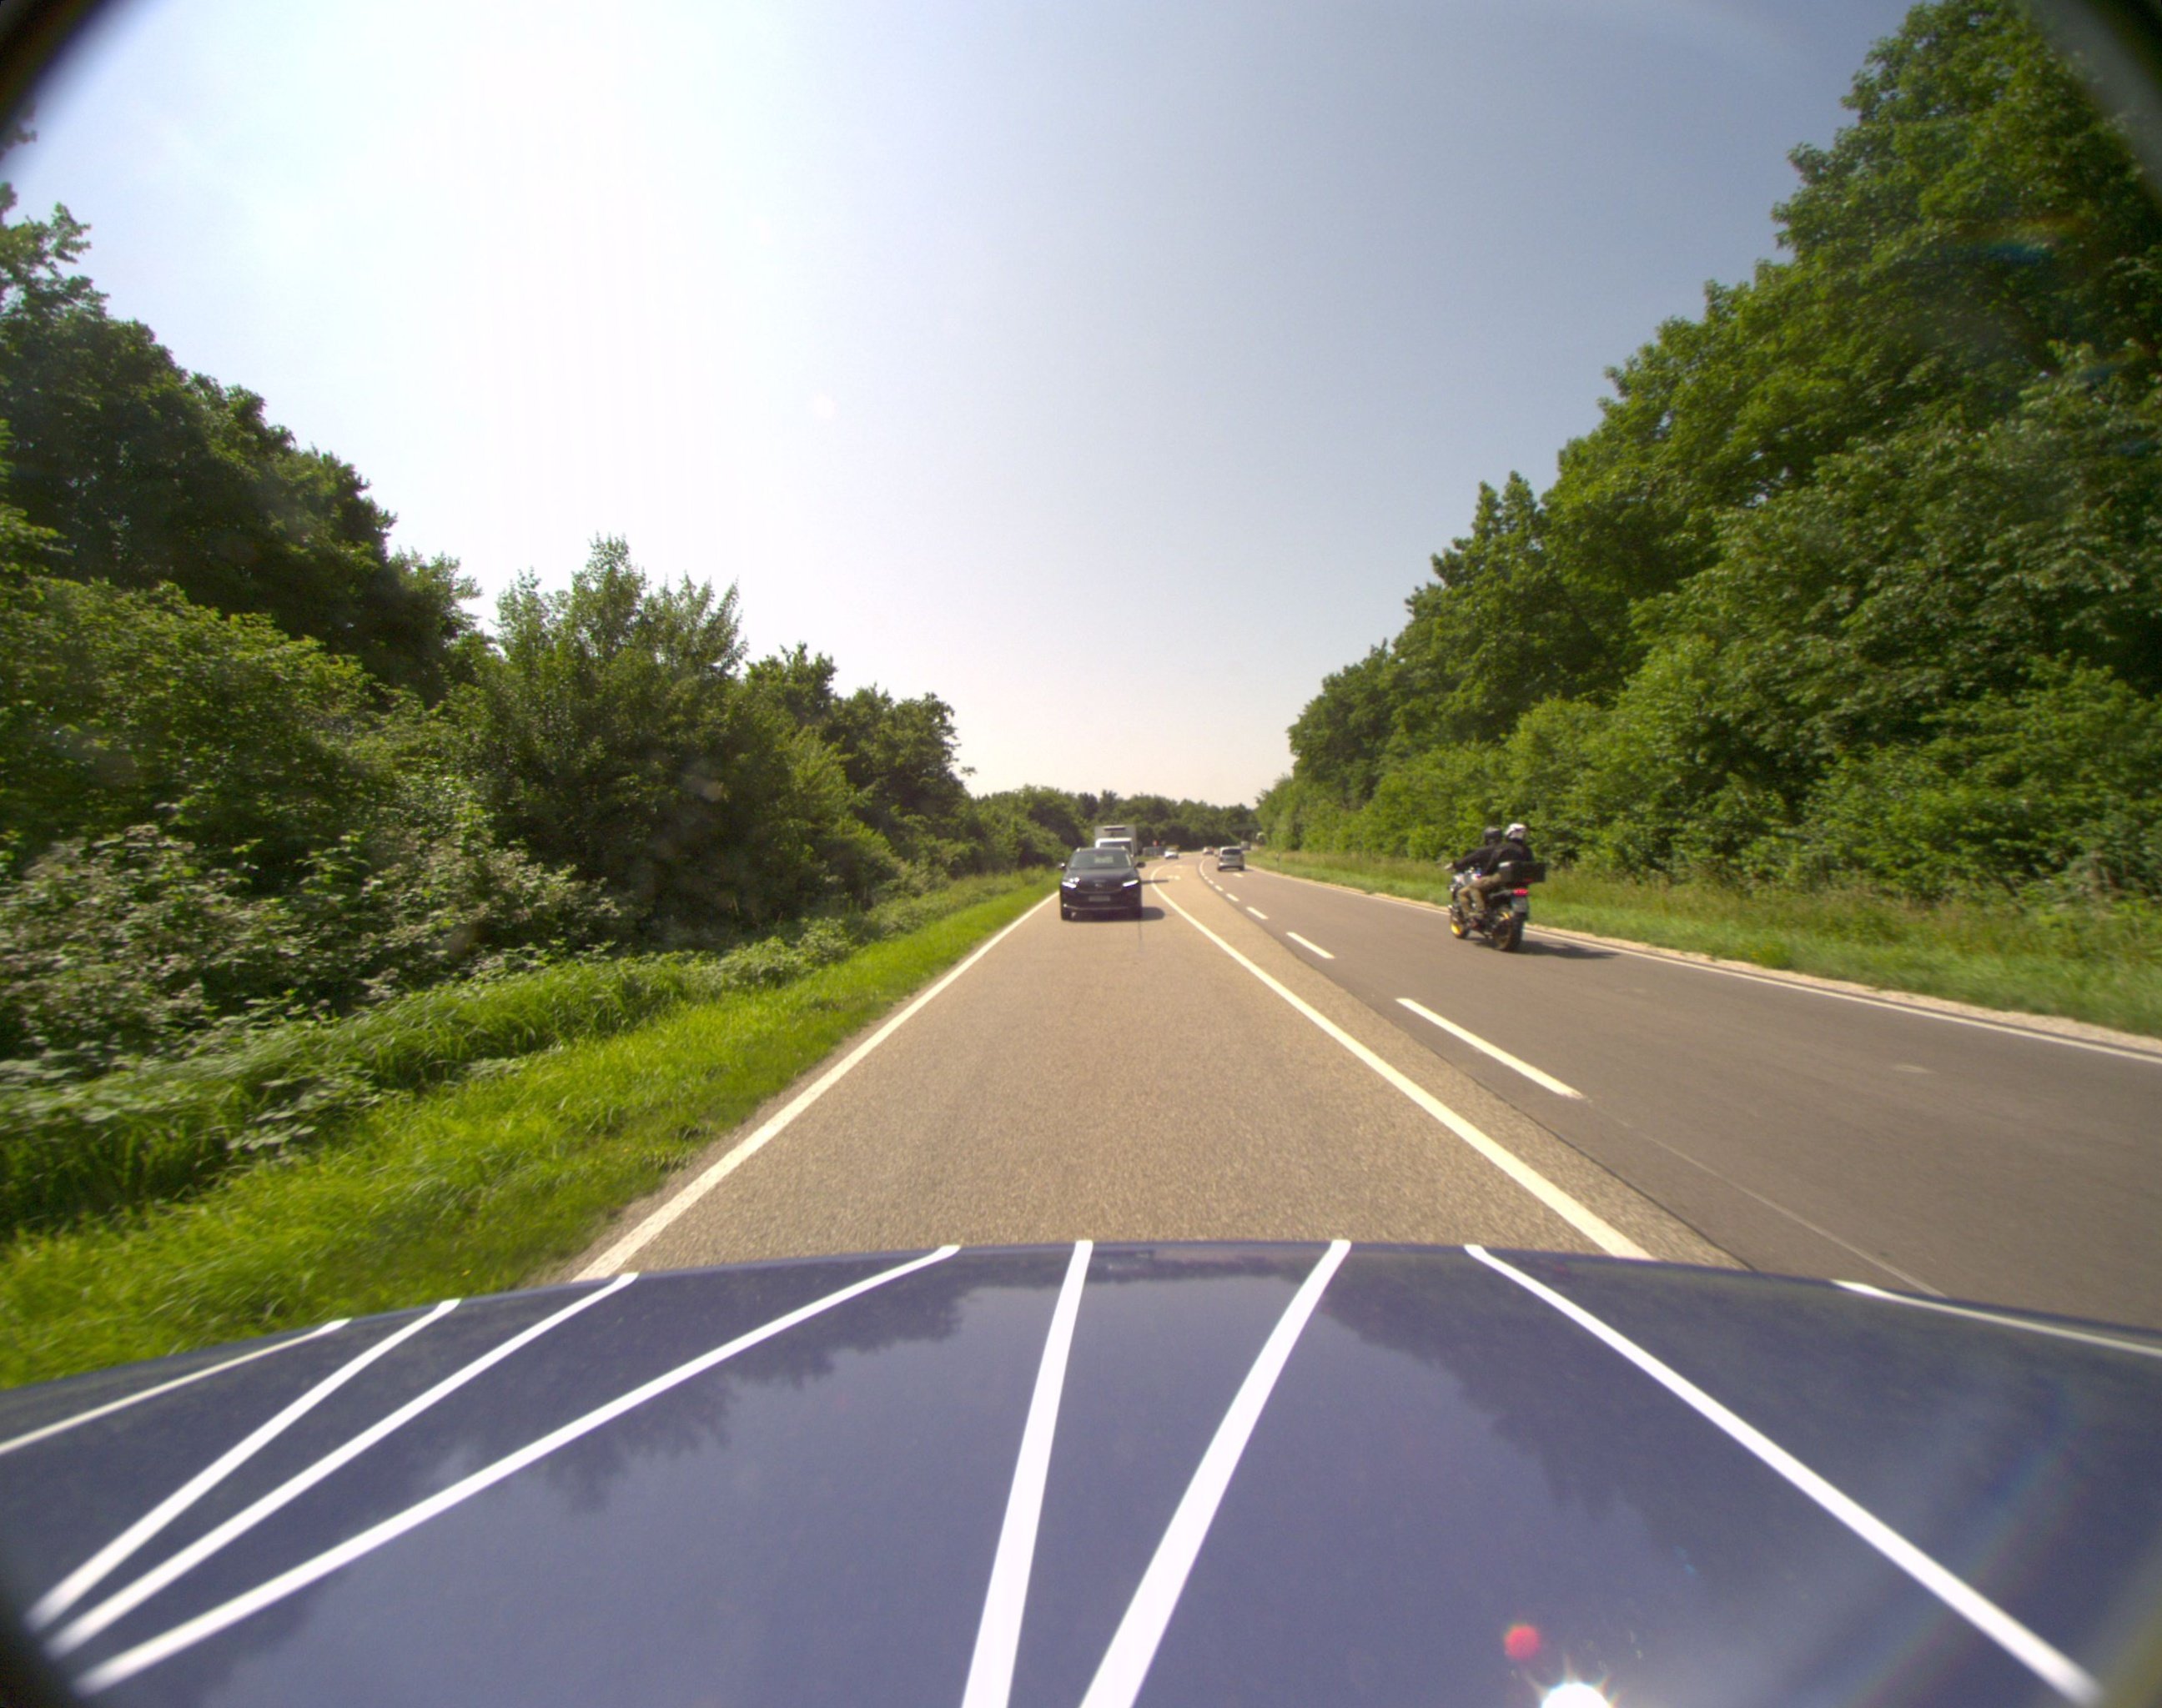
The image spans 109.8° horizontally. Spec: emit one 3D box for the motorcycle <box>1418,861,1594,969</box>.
[{"bbox_3d":[5.818,0.764,10.678,0.949,1.243,2.682,-2,0,0],"label":"motorcycle"}]

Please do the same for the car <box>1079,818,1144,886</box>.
[{"bbox_3d":[1.698,-0.200,38.788,2.590,3.047,6.883,-2,2,7],"label":"car"}]

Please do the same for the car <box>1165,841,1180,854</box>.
[{"bbox_3d":[13.469,-0.993,112.155,1.809,1.797,4.001,-2,0,3],"label":"car"}]

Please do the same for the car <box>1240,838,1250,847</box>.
[{"bbox_3d":[34.884,-2.474,161.585,1.846,1.769,4.897,-2,1,11],"label":"car"}]

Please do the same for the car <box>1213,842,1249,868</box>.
[{"bbox_3d":[10.264,0.040,52.349,1.806,1.627,4.212,-2,1,3],"label":"car"}]

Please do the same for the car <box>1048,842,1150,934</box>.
[{"bbox_3d":[0.492,0.675,17.678,1.924,1.711,5.479,-3,0,3],"label":"car"}]

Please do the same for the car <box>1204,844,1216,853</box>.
[{"bbox_3d":[22.776,-0.966,134.002,1.711,1.411,4.101,-2,1,13],"label":"car"}]

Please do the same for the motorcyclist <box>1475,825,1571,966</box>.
[{"bbox_3d":[5.757,0.522,9.926,0.832,1.742,0.623,-3,1,0],"label":"motorcyclist"}]

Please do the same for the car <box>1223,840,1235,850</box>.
[{"bbox_3d":[23.520,-1.373,120.886,1.617,1.493,3.554,-2,1,8],"label":"car"}]

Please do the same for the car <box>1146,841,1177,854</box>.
[{"bbox_3d":[14.608,-1.219,137.852,5.227,1.896,2.012,-4,2,-3],"label":"car"}]

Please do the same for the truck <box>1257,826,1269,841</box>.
[{"bbox_3d":[47.967,-5.474,200.010,2.630,3.650,8.804,-2,1,16],"label":"truck"}]

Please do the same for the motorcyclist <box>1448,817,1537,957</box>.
[{"bbox_3d":[5.751,0.445,10.651,0.822,1.871,0.657,-3,1,0],"label":"motorcyclist"}]
